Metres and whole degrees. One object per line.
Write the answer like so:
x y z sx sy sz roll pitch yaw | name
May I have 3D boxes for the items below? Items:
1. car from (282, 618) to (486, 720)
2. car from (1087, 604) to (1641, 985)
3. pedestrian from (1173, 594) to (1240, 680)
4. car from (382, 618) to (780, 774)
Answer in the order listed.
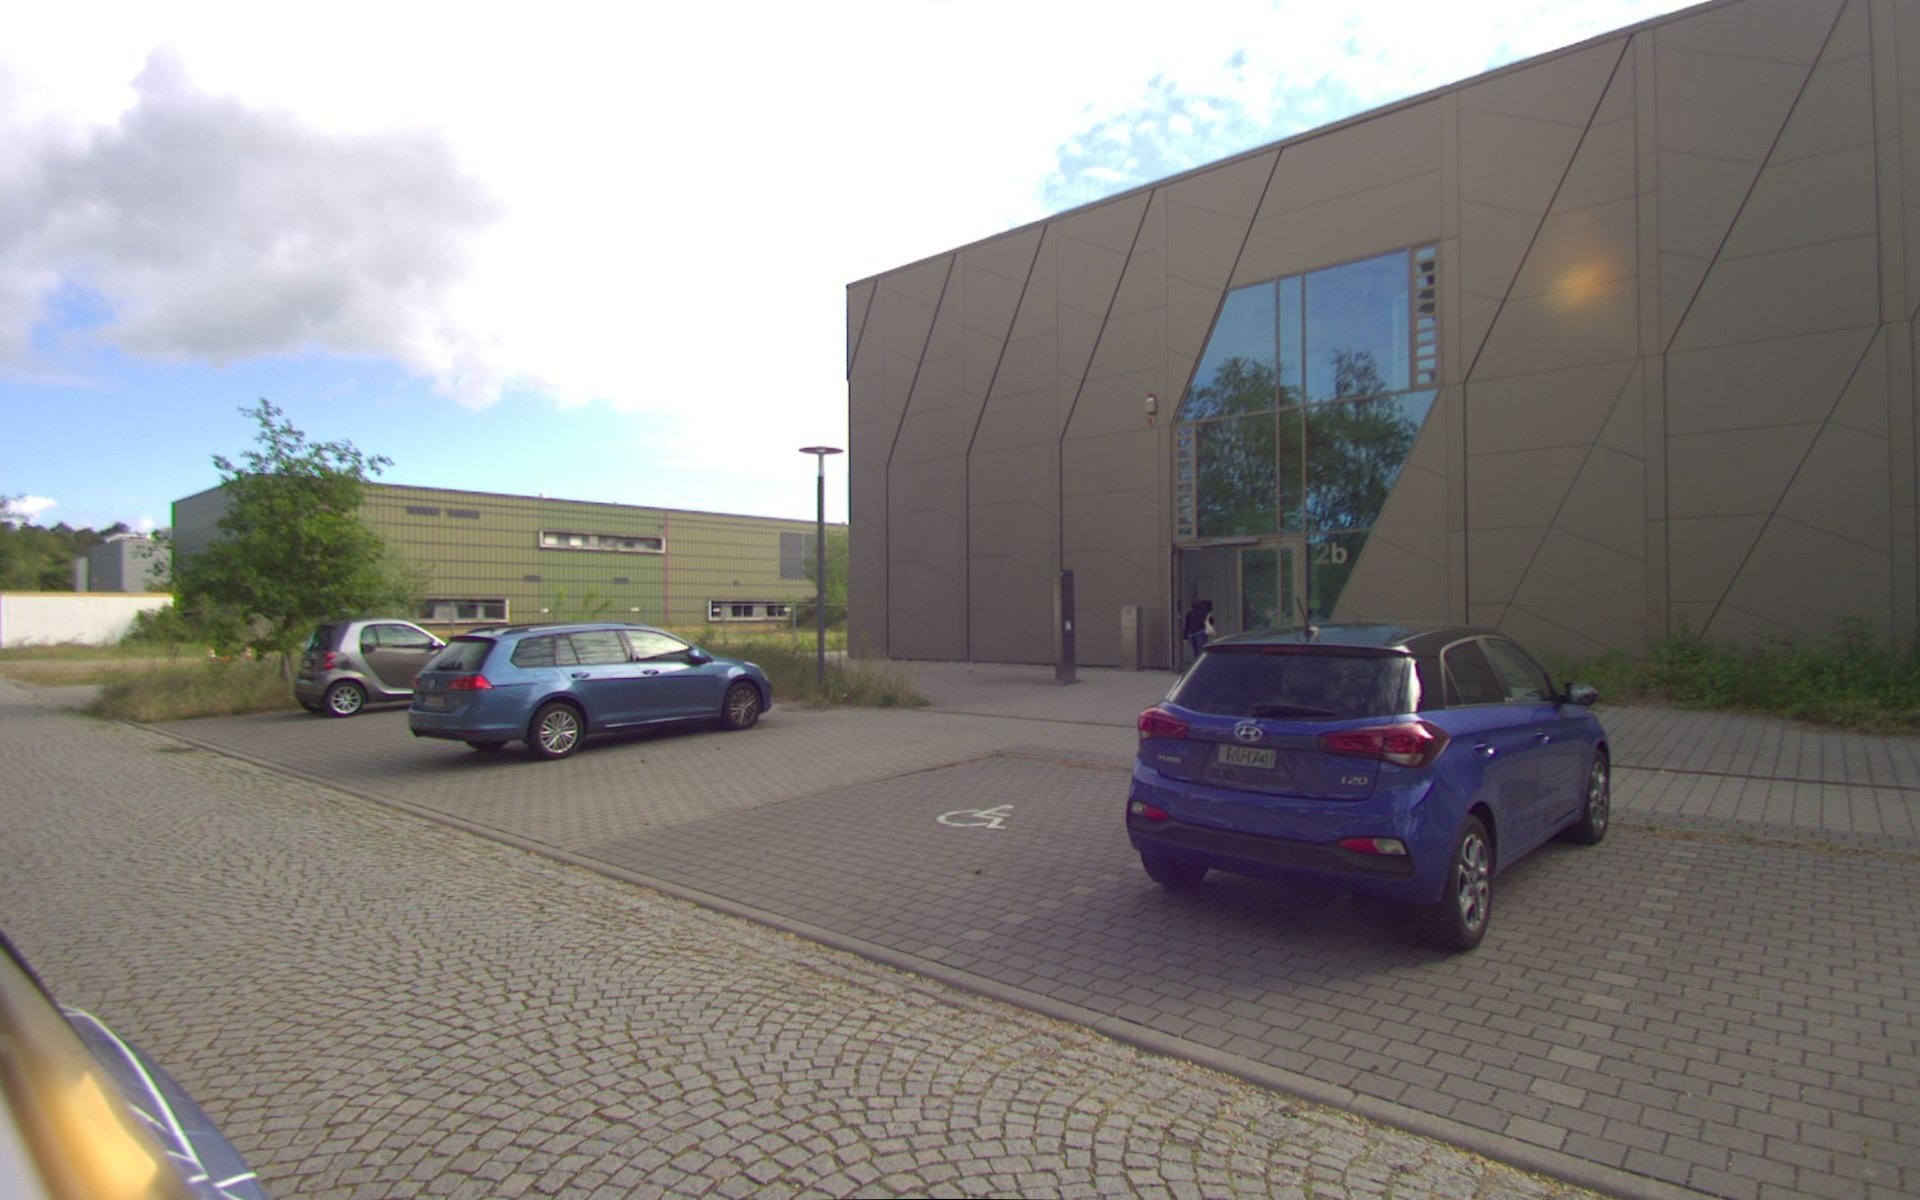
-9.821 1.111 17.336 1.609 1.522 2.627 -2 0 40 | car
2.643 0.819 6.140 1.852 1.489 3.724 -2 0 44 | car
4.565 0.661 18.695 0.818 1.506 0.973 -1 1 40 | pedestrian
-4.416 1.010 12.376 1.771 1.439 4.265 -2 0 38 | car
